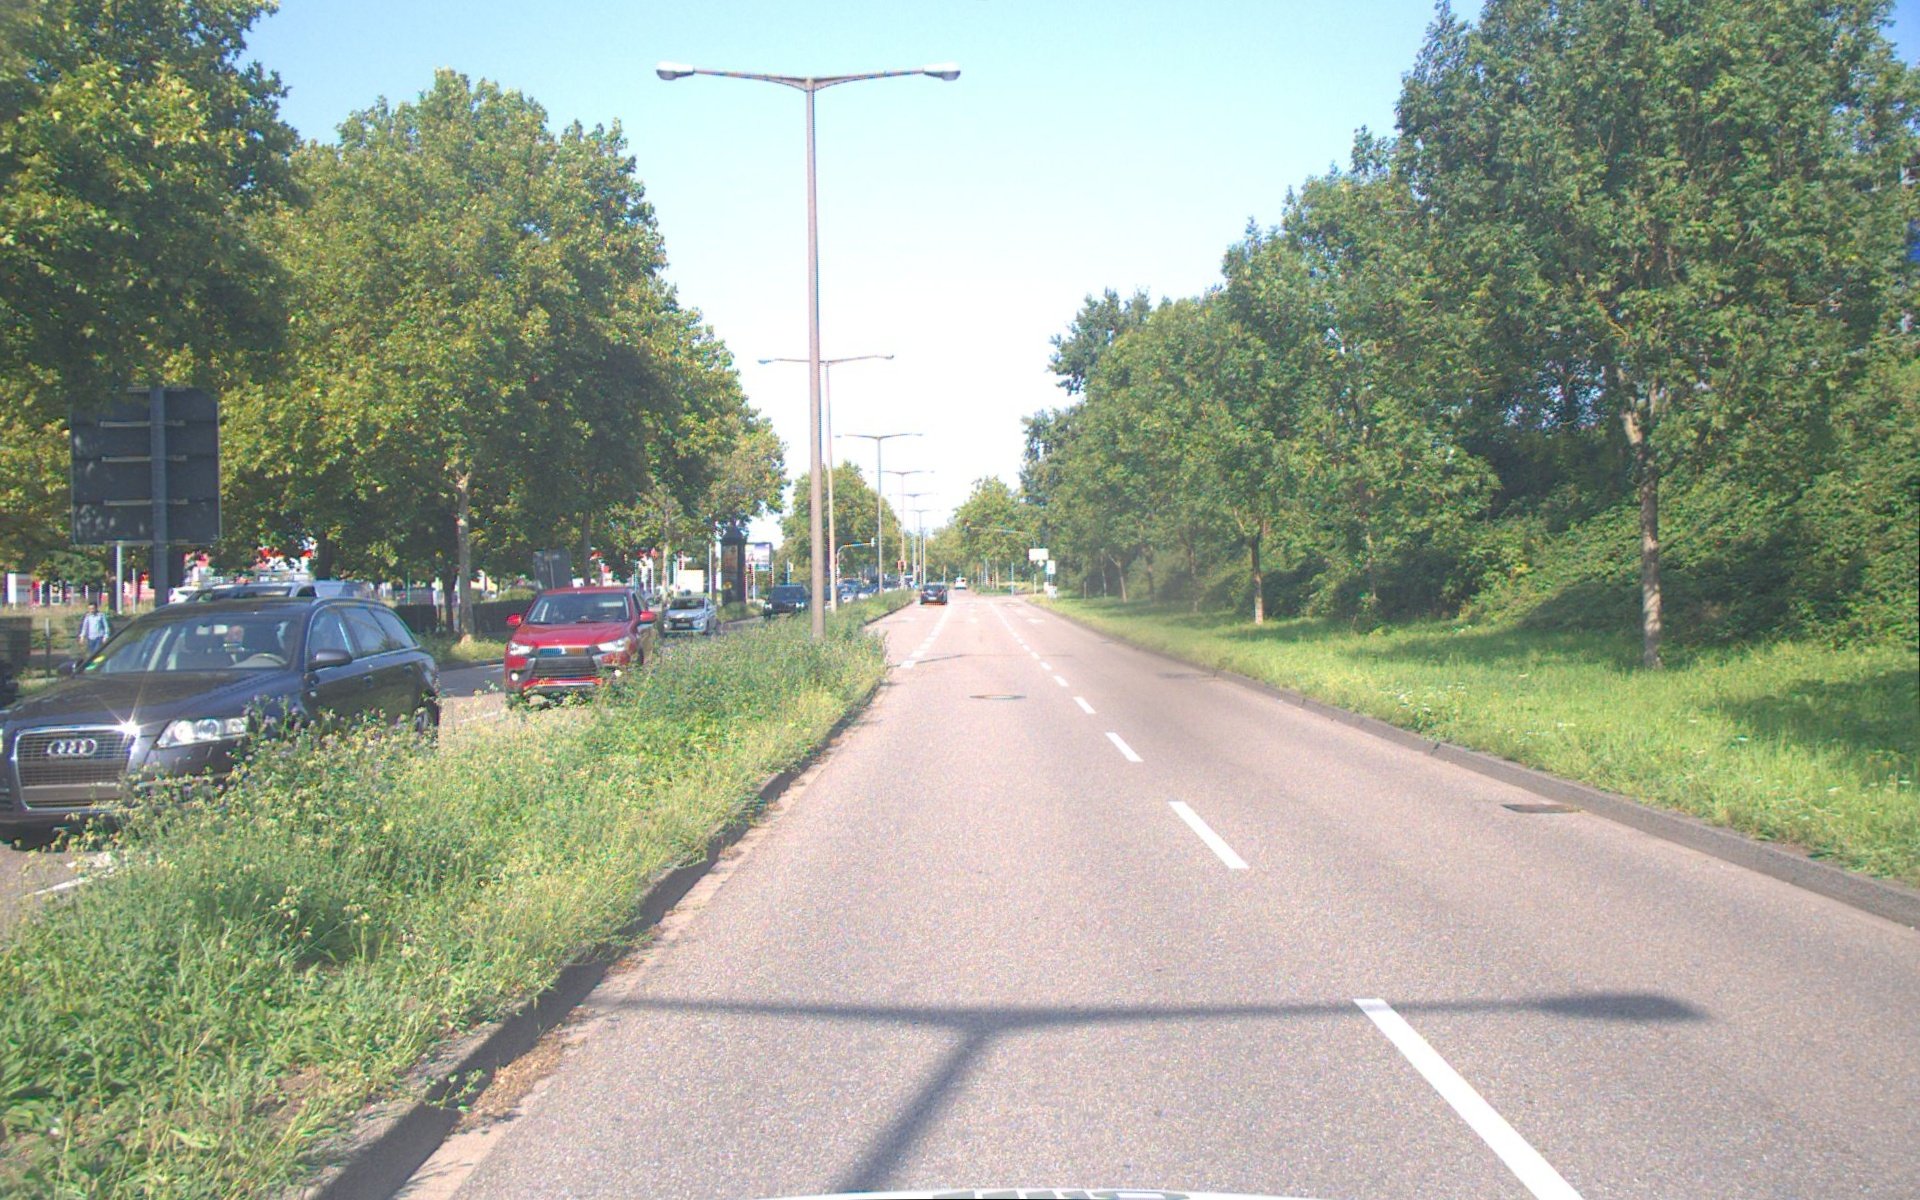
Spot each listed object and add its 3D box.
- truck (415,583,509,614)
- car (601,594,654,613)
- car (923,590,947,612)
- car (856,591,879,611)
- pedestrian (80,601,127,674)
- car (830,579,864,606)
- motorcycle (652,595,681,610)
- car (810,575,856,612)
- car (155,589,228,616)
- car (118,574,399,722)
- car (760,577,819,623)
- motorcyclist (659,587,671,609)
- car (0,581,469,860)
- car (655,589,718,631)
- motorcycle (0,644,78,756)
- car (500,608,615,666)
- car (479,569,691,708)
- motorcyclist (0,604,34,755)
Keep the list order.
[{"bbox_3d":[-52.838,-0.135,175.438,8.914,3.009,3.470,-2,1,-36],"label":"truck"},{"bbox_3d":[-25.246,0.253,125.625,3.661,1.468,1.448,0,0,-36],"label":"car"},{"bbox_3d":[-1.761,0.062,118.125,1.657,1.512,4.000,-1,0,0],"label":"car"},{"bbox_3d":[-7.178,0.092,128.485,1.642,1.512,3.492,0,0,-1],"label":"car"},{"bbox_3d":[-20.044,0.856,38.714,0.604,1.681,0.934,0,0,0],"label":"pedestrian"},{"bbox_3d":[-7.039,-0.449,103.240,1.841,1.622,4.108,0,0,0],"label":"car"},{"bbox_3d":[-22.002,0.189,123.817,2.052,1.156,0.669,-1,0,-36],"label":"motorcycle"},{"bbox_3d":[-6.626,-0.345,86.557,1.953,1.790,4.307,-3,0,0],"label":"car"},{"bbox_3d":[-49.290,0.159,106.126,3.961,1.709,1.844,0,0,-39],"label":"car"},{"bbox_3d":[-10.240,0.629,24.635,1.944,1.891,4.969,-3,0,0],"label":"car"},{"bbox_3d":[-7.295,-0.010,71.225,1.953,1.790,4.477,-3,0,0],"label":"car"},{"bbox_3d":[-22.102,-0.152,123.741,0.676,1.599,0.675,0,0,-36],"label":"motorcyclist"},{"bbox_3d":[-4.970,0.682,11.619,1.711,1.505,4.585,-3,0,-1],"label":"car"},{"bbox_3d":[-10.286,0.360,62.530,1.754,1.508,3.999,-1,0,-1],"label":"car"},{"bbox_3d":[-10.476,1.072,17.626,0.778,1.126,2.468,0,0,1],"label":"motorcycle"},{"bbox_3d":[-10.149,0.903,42.009,1.753,1.285,4.096,-2,0,2],"label":"car"},{"bbox_3d":[-5.202,0.487,23.572,1.914,1.754,4.587,-1,0,0],"label":"car"},{"bbox_3d":[-10.480,0.840,17.557,0.762,1.581,0.922,0,0,1],"label":"motorcyclist"}]
